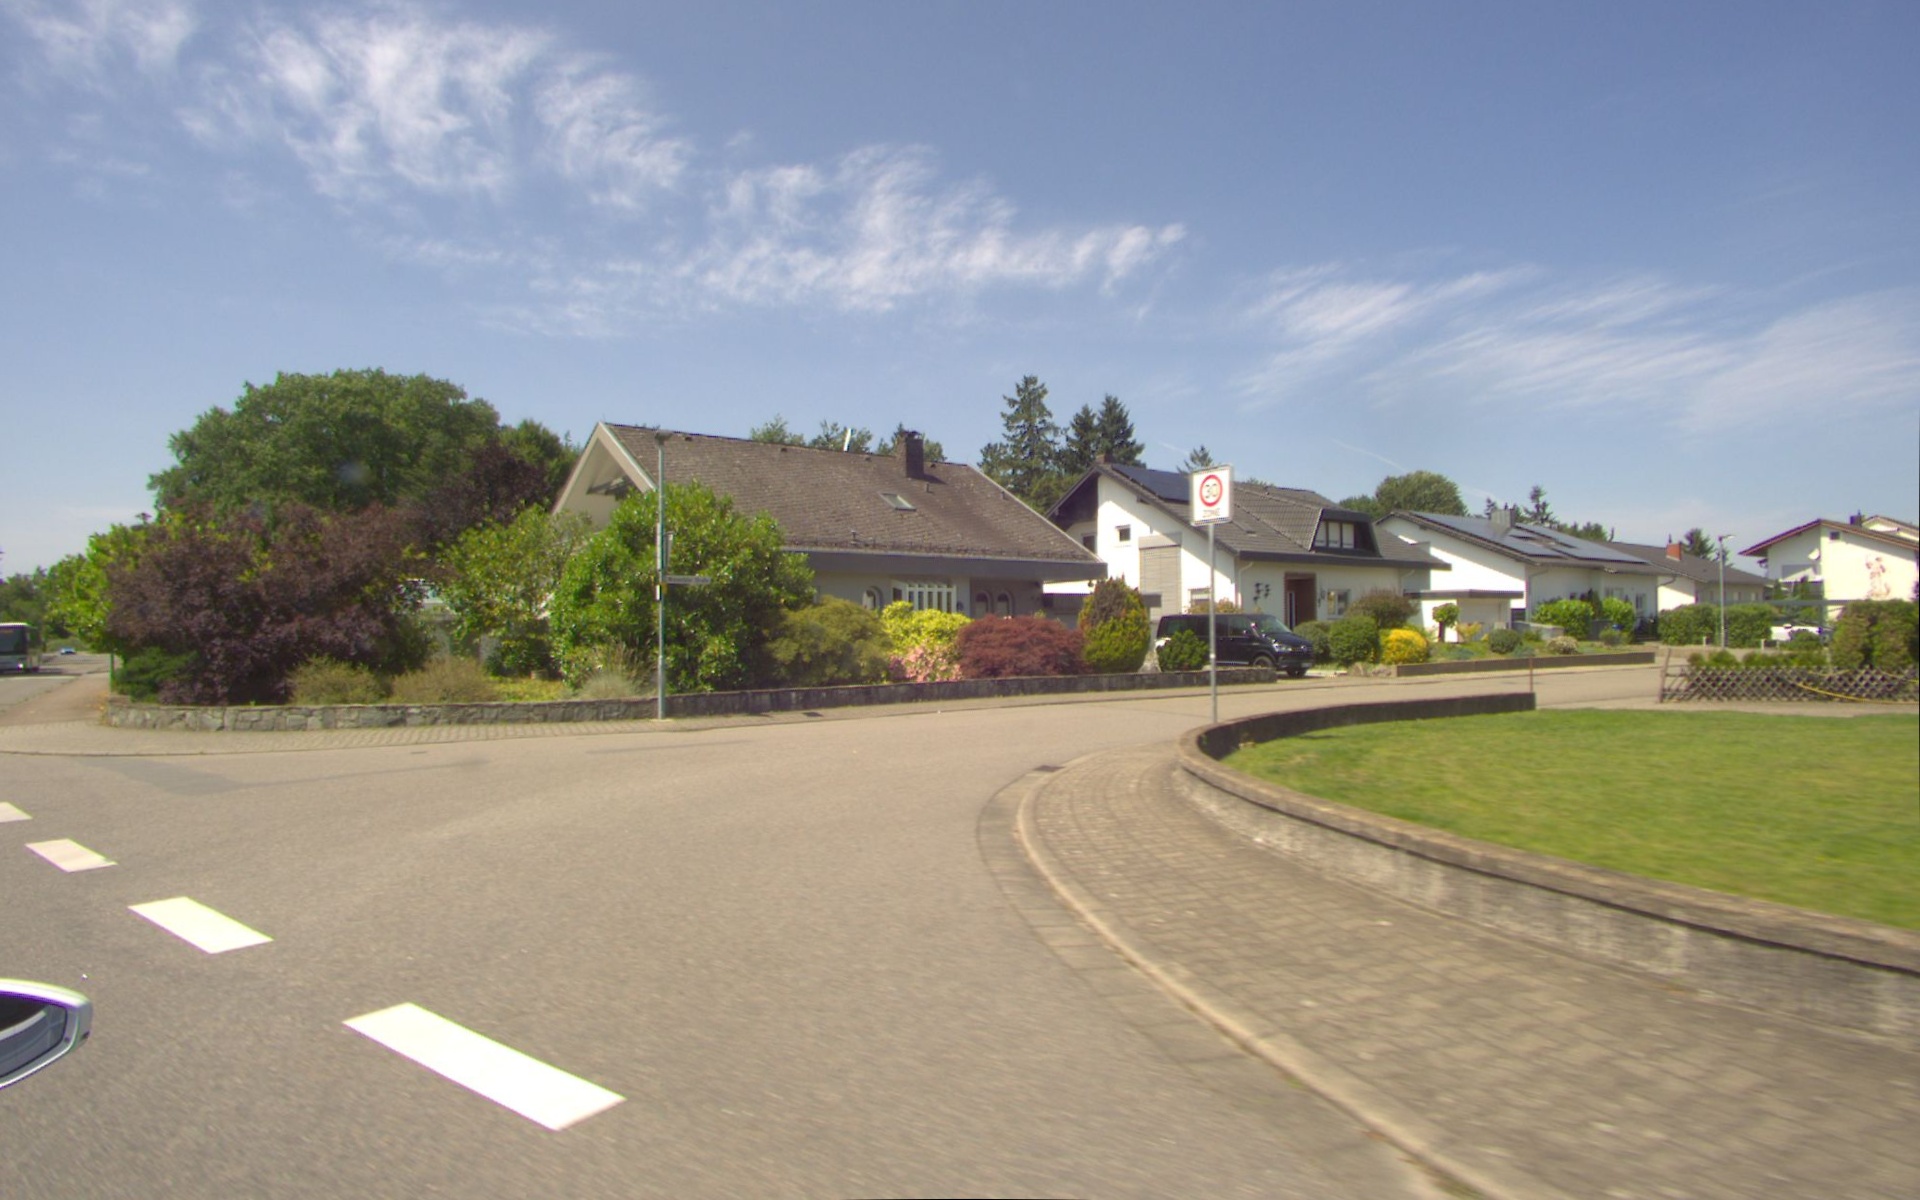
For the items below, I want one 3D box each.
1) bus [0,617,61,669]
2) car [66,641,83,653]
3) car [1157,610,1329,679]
[{"bbox_3d":[-64.323,2.960,68.493,3.153,3.286,12.620,0,-2,-37],"label":"bus"},{"bbox_3d":[-145.857,7.793,164.953,1.937,1.883,3.964,0,-2,-43],"label":"car"},{"bbox_3d":[8.580,1.353,30.777,1.906,1.939,4.929,0,-2,-38],"label":"car"}]
